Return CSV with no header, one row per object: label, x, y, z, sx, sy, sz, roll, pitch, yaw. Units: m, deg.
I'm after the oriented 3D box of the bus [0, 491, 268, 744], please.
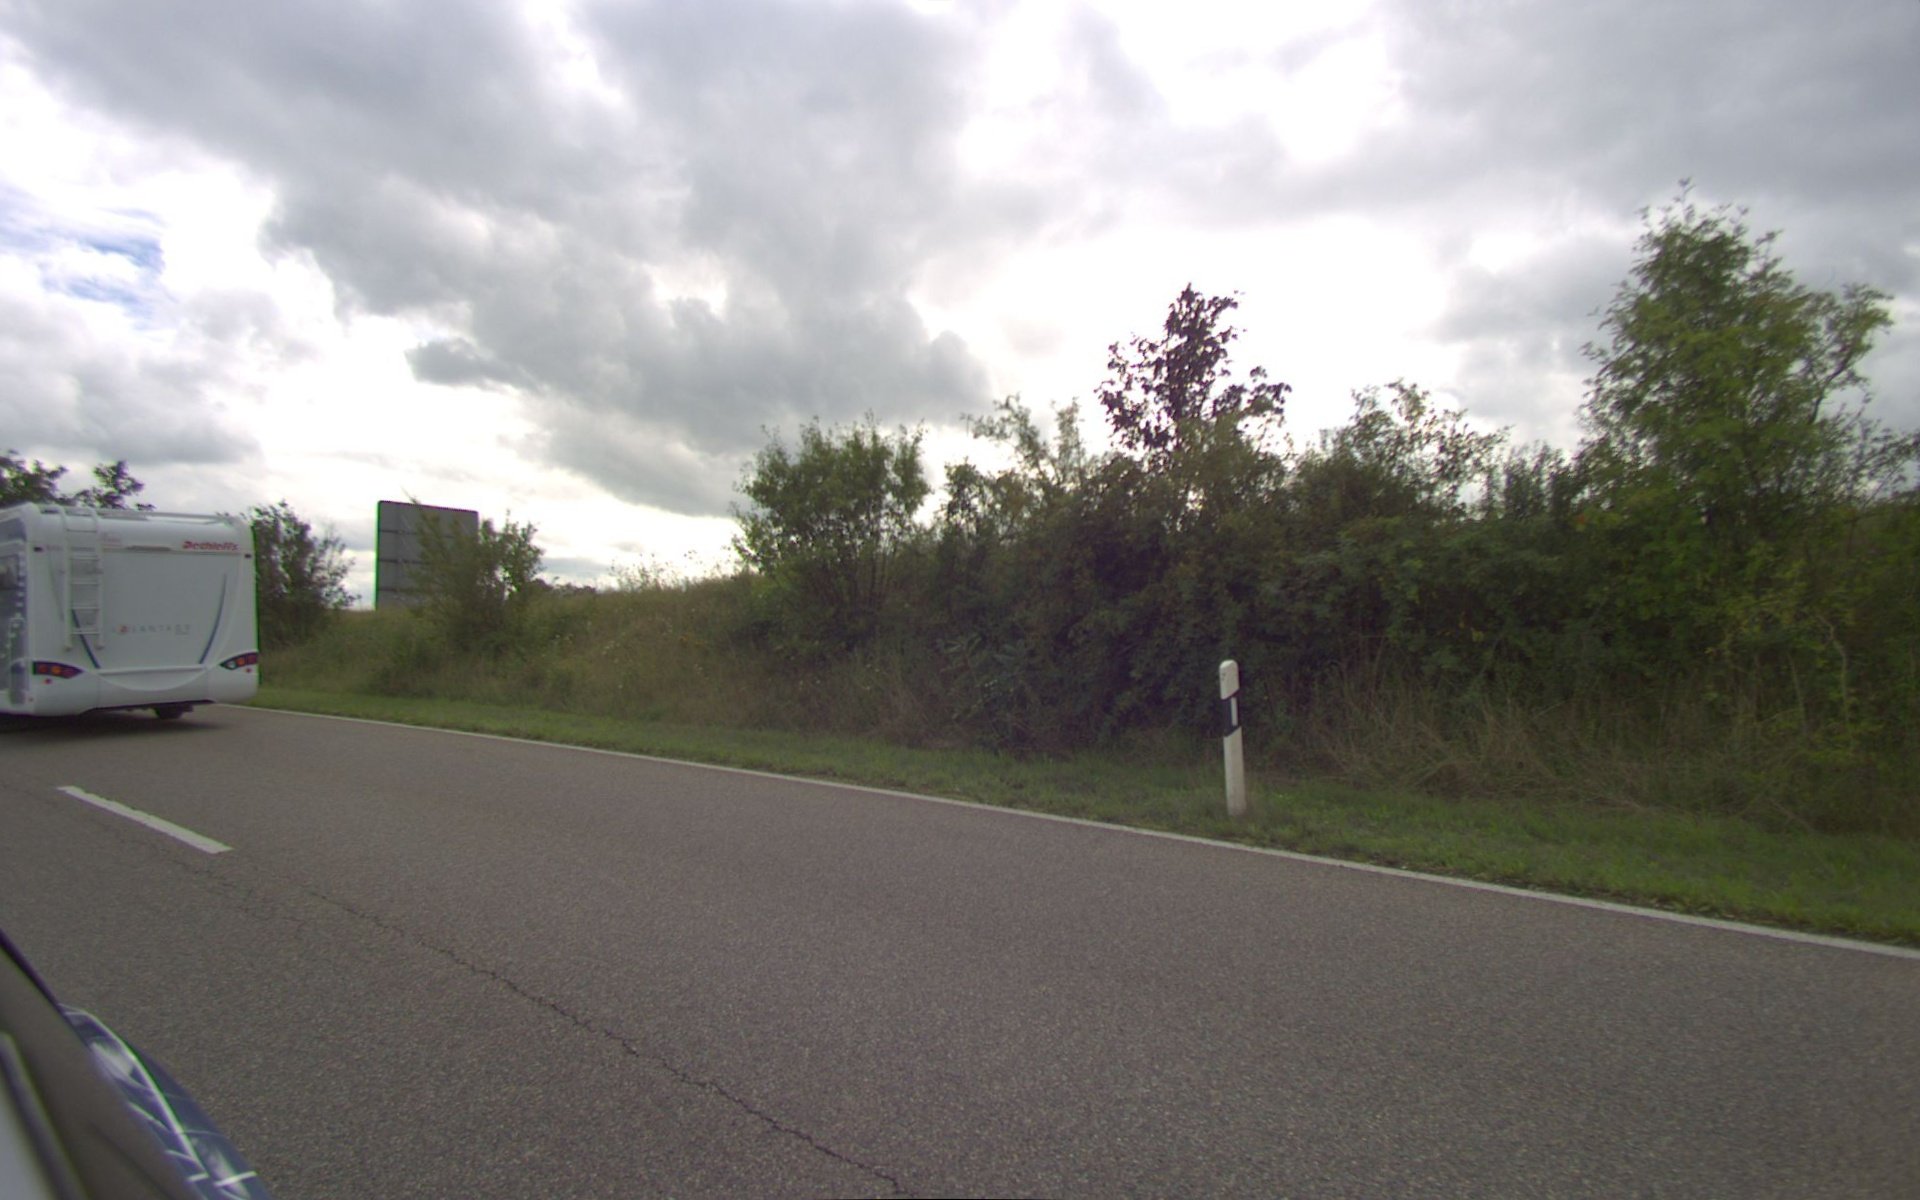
bus,-13.045,0.262,14.290,8.407,2.732,2.455,-1,-2,34
